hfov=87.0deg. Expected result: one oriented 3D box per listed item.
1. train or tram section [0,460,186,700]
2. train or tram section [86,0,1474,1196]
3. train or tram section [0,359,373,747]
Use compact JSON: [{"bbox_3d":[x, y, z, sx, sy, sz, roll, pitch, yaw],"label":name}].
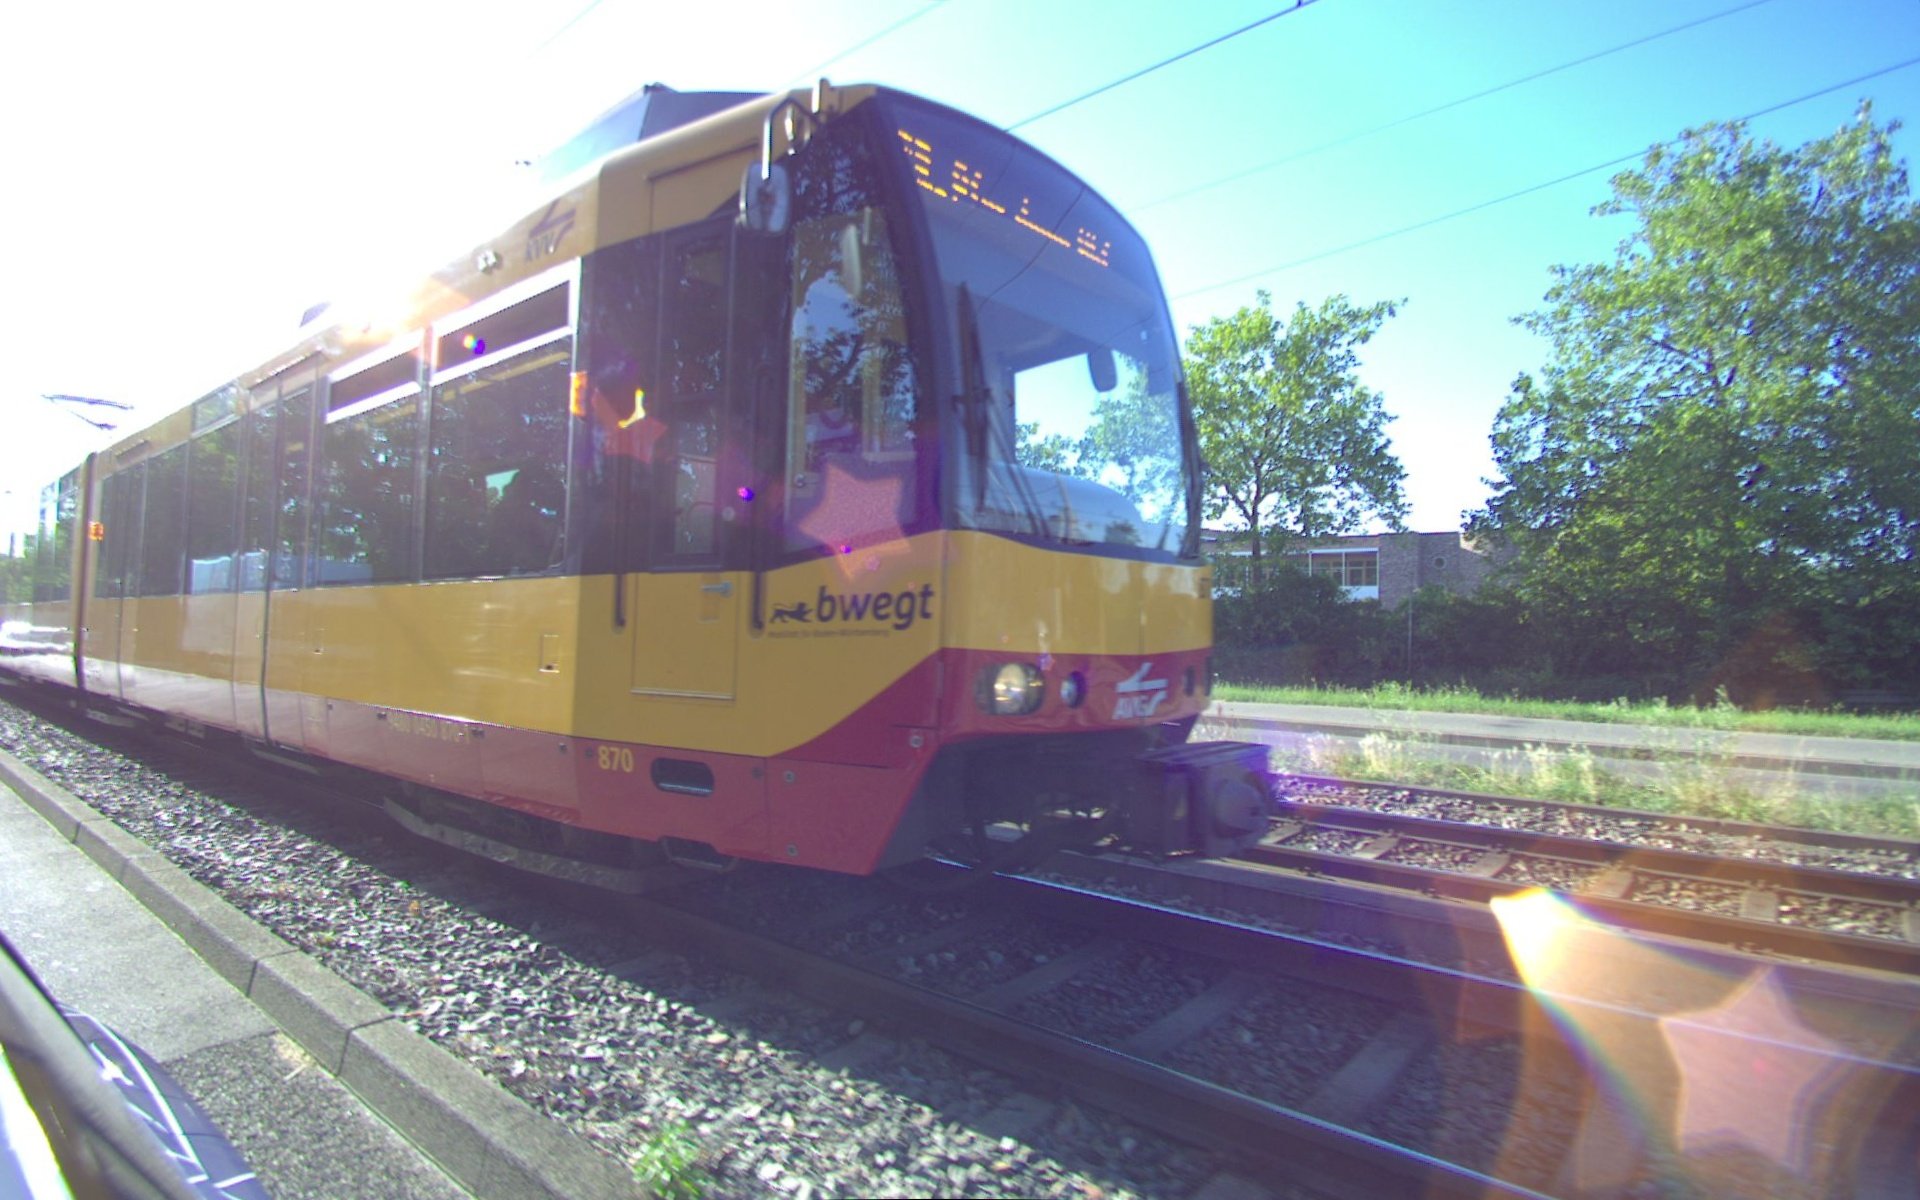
[{"bbox_3d":[-20.805,-0.187,22.845,13.610,4.122,2.692,-1,-3,42],"label":"train or tram section"},{"bbox_3d":[-3.507,-0.606,7.535,12.806,4.120,2.691,-1,-3,41],"label":"train or tram section"},{"bbox_3d":[-12.023,-0.385,15.020,9.906,4.120,2.666,-1,-3,41],"label":"train or tram section"}]
